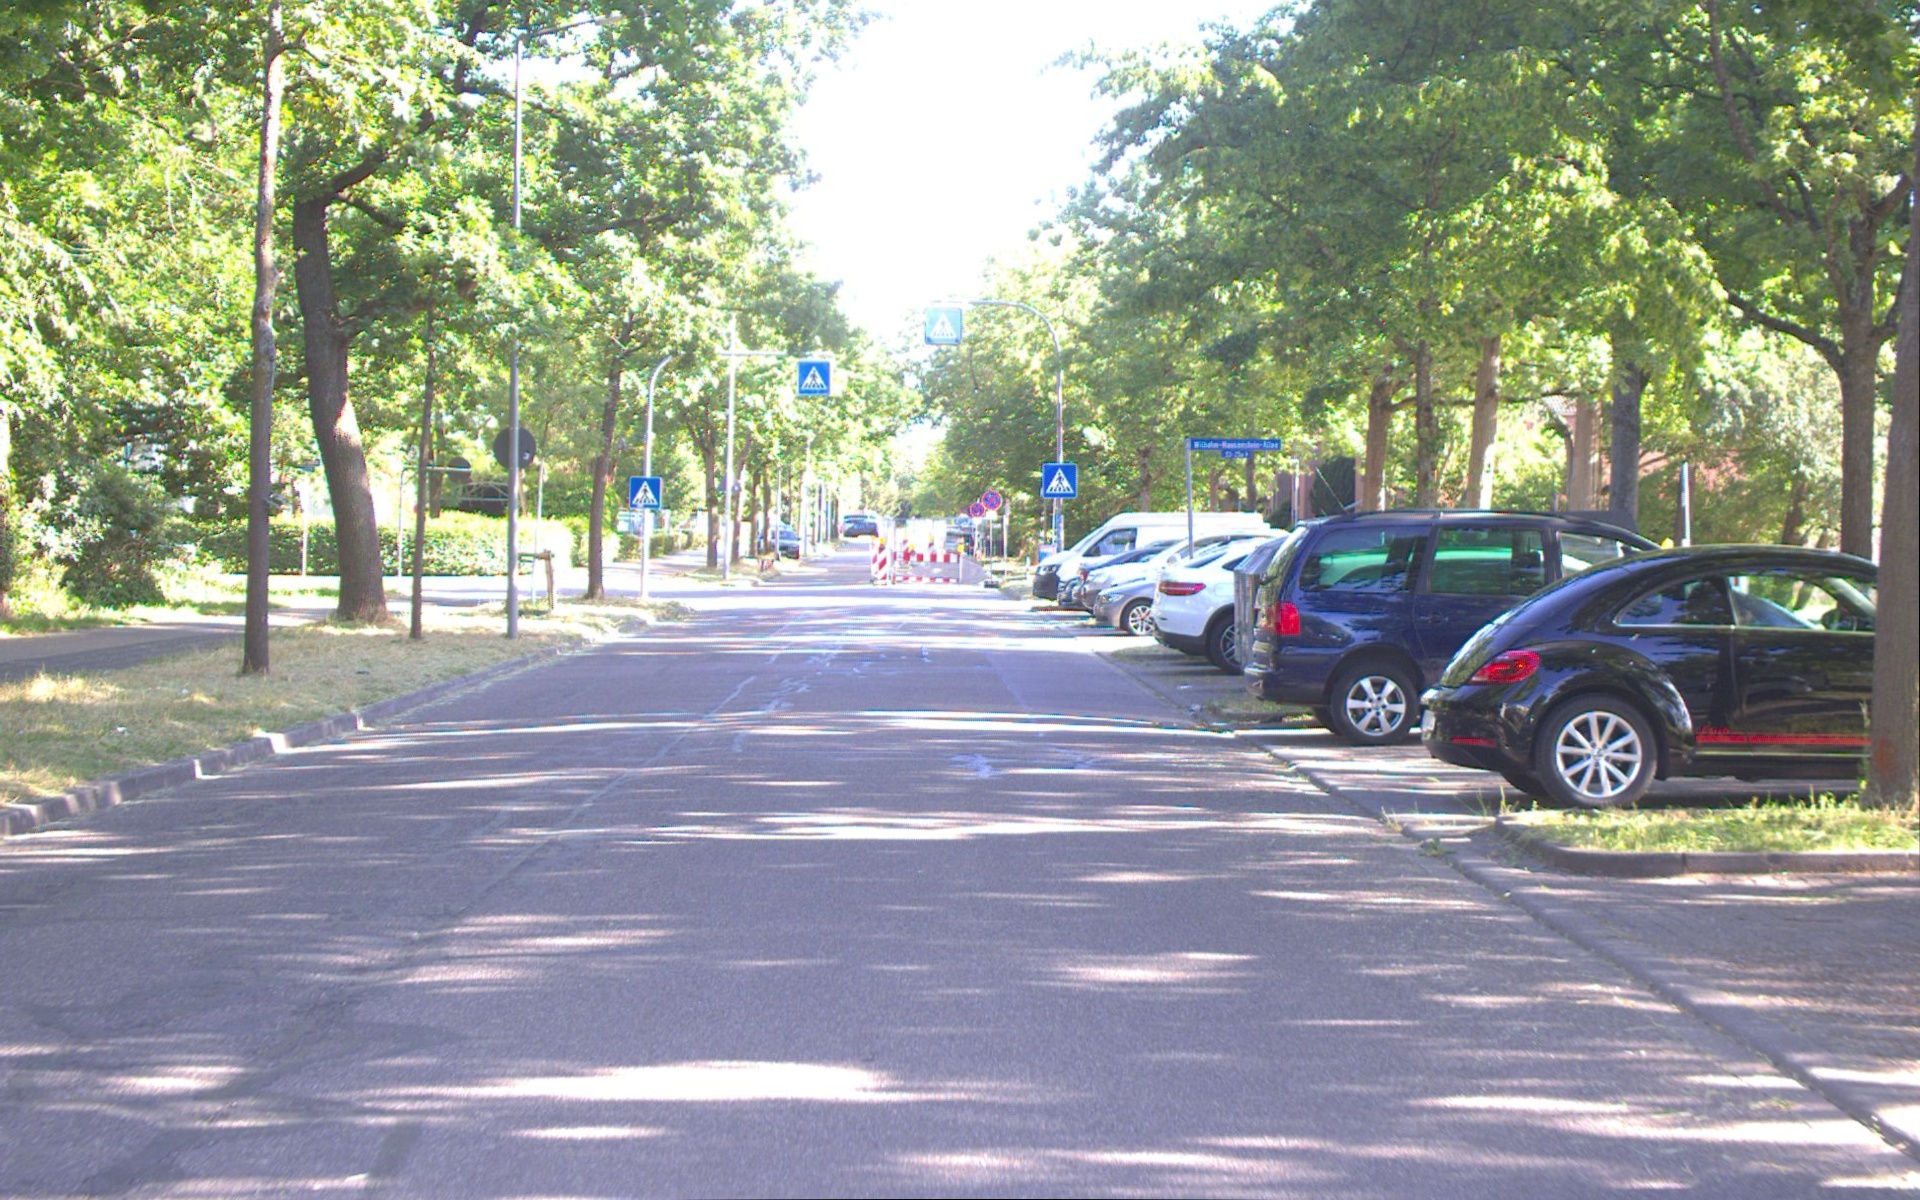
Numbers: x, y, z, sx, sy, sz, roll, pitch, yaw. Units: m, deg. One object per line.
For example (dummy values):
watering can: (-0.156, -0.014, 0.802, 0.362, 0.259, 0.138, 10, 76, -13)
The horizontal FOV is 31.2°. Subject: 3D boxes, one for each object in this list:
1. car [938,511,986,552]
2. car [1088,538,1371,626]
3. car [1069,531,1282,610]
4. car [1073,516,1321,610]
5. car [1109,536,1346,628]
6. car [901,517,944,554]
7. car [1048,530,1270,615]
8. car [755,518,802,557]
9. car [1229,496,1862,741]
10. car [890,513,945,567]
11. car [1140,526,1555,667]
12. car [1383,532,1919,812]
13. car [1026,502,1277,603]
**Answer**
car: (0.087, -2.991, 150.573, 1.993, 1.710, 4.000, 2, 1, -1)
car: (4.342, -0.306, 55.919, 4.445, 1.385, 1.911, 0, 1, 0)
car: (4.113, -0.578, 66.057, 3.987, 1.428, 1.901, 1, 1, 1)
car: (4.344, -0.703, 63.519, 4.384, 1.645, 1.851, -1, 1, -2)
car: (4.561, -0.327, 58.981, 3.884, 1.492, 1.777, -1, 1, -1)
car: (-1.811, -3.124, 166.324, 1.993, 1.710, 4.000, 2, 1, -1)
car: (3.945, -0.565, 68.670, 4.212, 1.563, 1.934, 1, 1, -2)
car: (-8.261, -2.873, 156.811, 1.993, 1.710, 4.000, 2, 1, -1)
car: (4.412, 0.118, 26.434, 4.530, 1.795, 1.936, 0, 1, 0)
car: (-1.608, -2.270, 129.688, 1.993, 1.926, 4.000, 2, 1, -1)
car: (4.517, -0.062, 40.588, 4.670, 1.575, 1.917, -1, 1, 0)
car: (4.685, 0.373, 19.866, 4.245, 1.513, 2.078, 0, 1, 1)
car: (4.077, -1.033, 73.826, 5.187, 2.098, 2.083, 0, 1, -2)
